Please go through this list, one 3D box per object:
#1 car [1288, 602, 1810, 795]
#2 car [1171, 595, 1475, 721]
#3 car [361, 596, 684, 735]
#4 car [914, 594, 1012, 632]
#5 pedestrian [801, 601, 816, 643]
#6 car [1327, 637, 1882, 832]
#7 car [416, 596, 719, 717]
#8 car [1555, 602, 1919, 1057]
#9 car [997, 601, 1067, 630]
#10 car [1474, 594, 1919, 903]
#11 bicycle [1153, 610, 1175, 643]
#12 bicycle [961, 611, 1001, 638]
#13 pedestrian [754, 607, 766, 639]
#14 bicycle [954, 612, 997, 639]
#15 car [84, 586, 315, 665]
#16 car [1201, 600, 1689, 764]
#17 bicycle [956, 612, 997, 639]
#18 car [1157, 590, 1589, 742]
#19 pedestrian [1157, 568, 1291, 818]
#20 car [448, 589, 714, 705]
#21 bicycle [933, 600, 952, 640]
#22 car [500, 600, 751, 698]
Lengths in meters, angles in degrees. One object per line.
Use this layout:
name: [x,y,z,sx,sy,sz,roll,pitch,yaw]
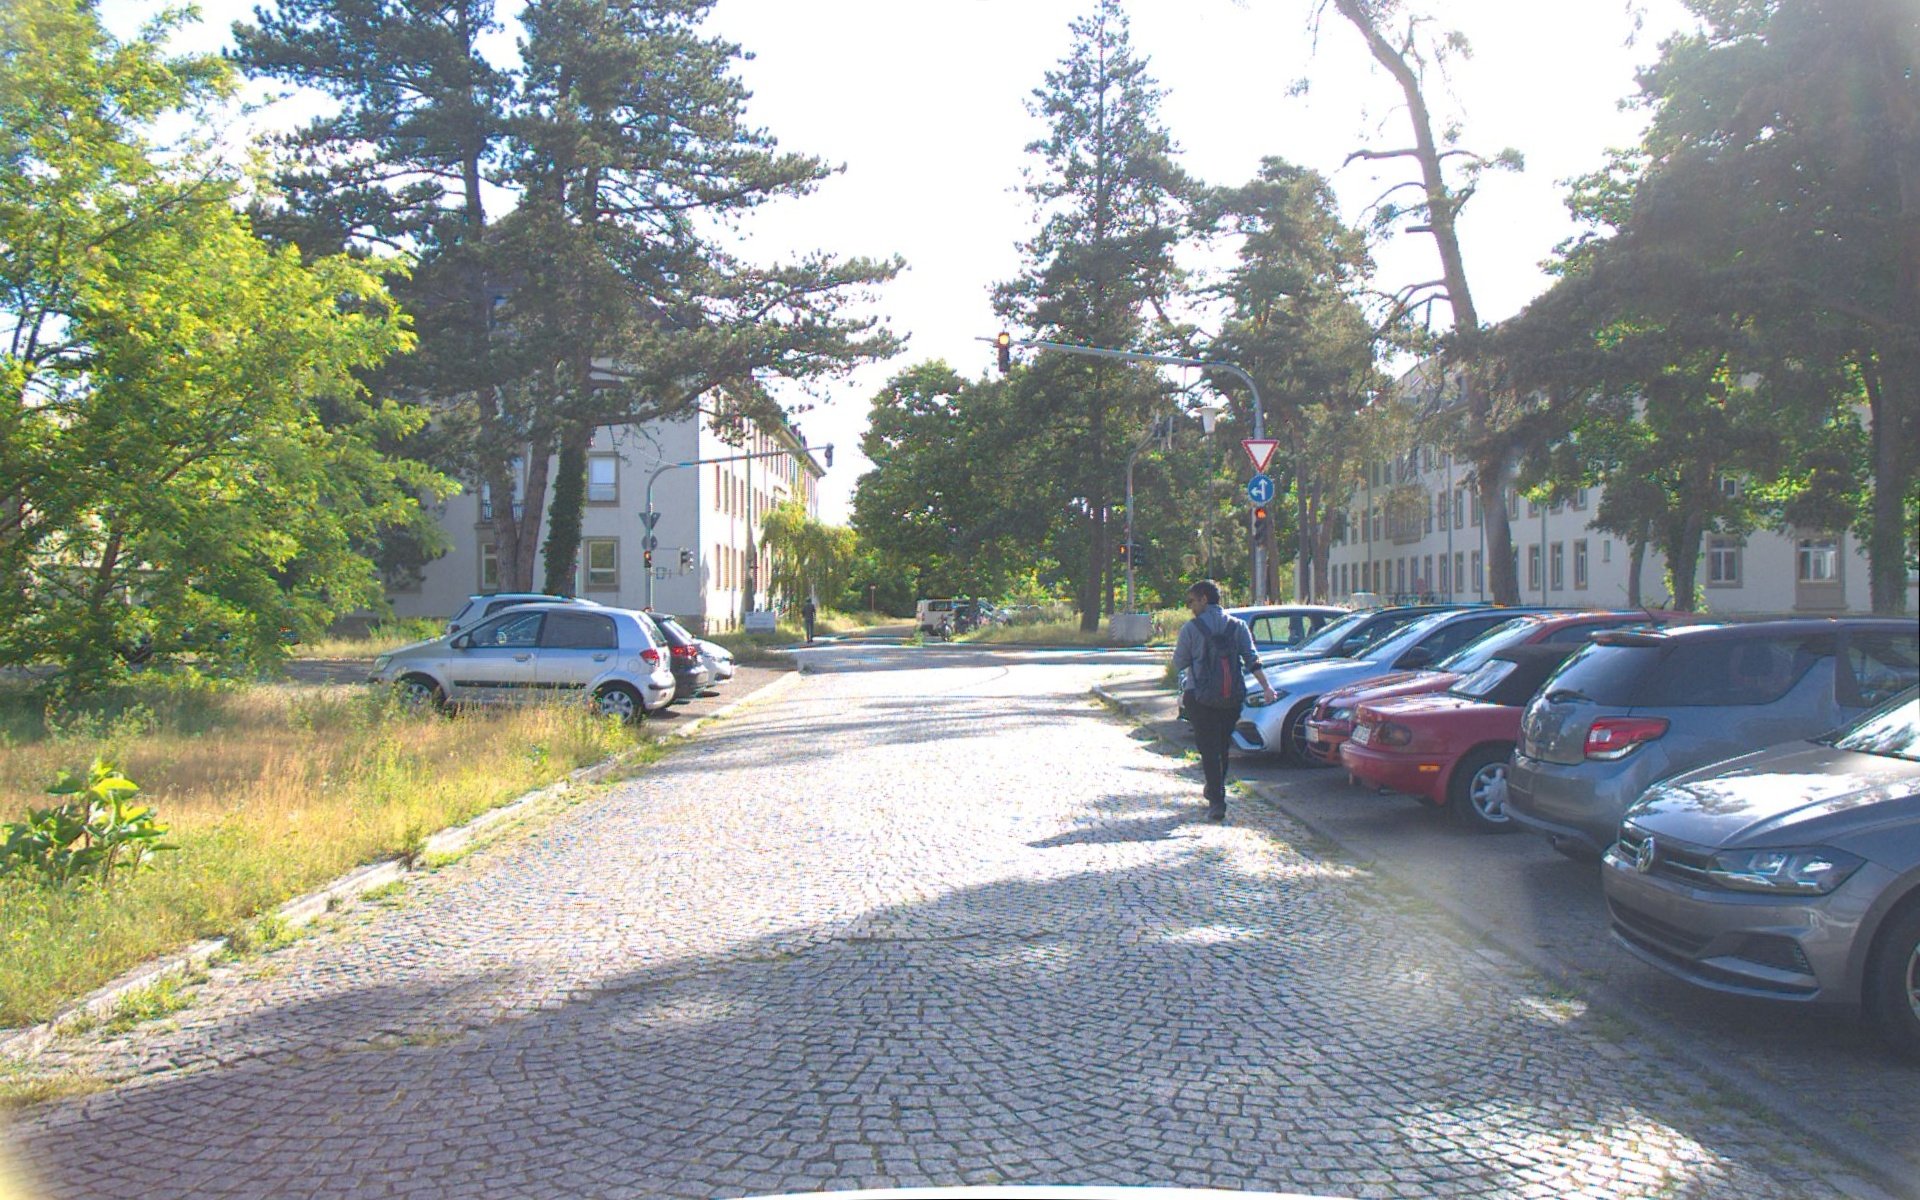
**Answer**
car: [4.960,0.799,14.272,3.899,1.474,1.655,-1,0,-2]
car: [4.727,0.743,21.866,3.598,1.468,1.665,-2,0,-1]
car: [-5.422,0.799,20.857,3.612,1.554,1.698,2,0,-3]
car: [0.131,0.687,88.634,4.975,1.952,1.995,0,0,-10]
pedestrian: [-6.452,0.930,70.329,0.594,1.783,0.630,0,0,-1]
car: [4.501,0.920,11.874,3.390,1.264,1.536,0,0,-1]
car: [-5.495,0.778,23.520,3.858,1.470,1.690,3,0,-2]
car: [4.484,0.738,6.409,3.703,1.476,1.758,-2,0,1]
car: [4.040,0.864,92.622,3.673,1.607,1.738,0,0,-8]
car: [4.972,0.739,9.314,3.589,1.480,1.666,-2,0,-1]
bicycle: [7.282,0.927,58.952,0.706,1.134,2.585,-1,0,9]
bicycle: [0.927,1.064,71.972,1.693,1.185,0.560,-1,0,-4]
pedestrian: [-10.238,1.172,84.477,0.595,1.587,0.544,1,0,-7]
bicycle: [0.645,1.096,70.742,1.798,1.132,0.495,-1,0,-5]
car: [-16.474,0.545,35.981,4.059,1.637,2.010,-1,0,0]
car: [4.723,0.773,16.519,4.310,1.413,1.788,-2,0,-2]
bicycle: [0.705,1.099,71.287,1.693,1.132,0.483,-1,-1,-5]
car: [4.746,0.730,19.415,4.528,1.481,1.869,-3,0,-3]
pedestrian: [1.960,0.671,12.363,0.738,1.755,0.828,4,-1,-1]
car: [-5.932,0.722,26.198,3.802,1.643,1.660,2,0,-2]
bicycle: [-0.701,0.790,67.263,0.738,1.608,2.536,0,0,-1]
car: [-5.791,0.825,28.917,3.903,1.522,1.773,2,0,4]
